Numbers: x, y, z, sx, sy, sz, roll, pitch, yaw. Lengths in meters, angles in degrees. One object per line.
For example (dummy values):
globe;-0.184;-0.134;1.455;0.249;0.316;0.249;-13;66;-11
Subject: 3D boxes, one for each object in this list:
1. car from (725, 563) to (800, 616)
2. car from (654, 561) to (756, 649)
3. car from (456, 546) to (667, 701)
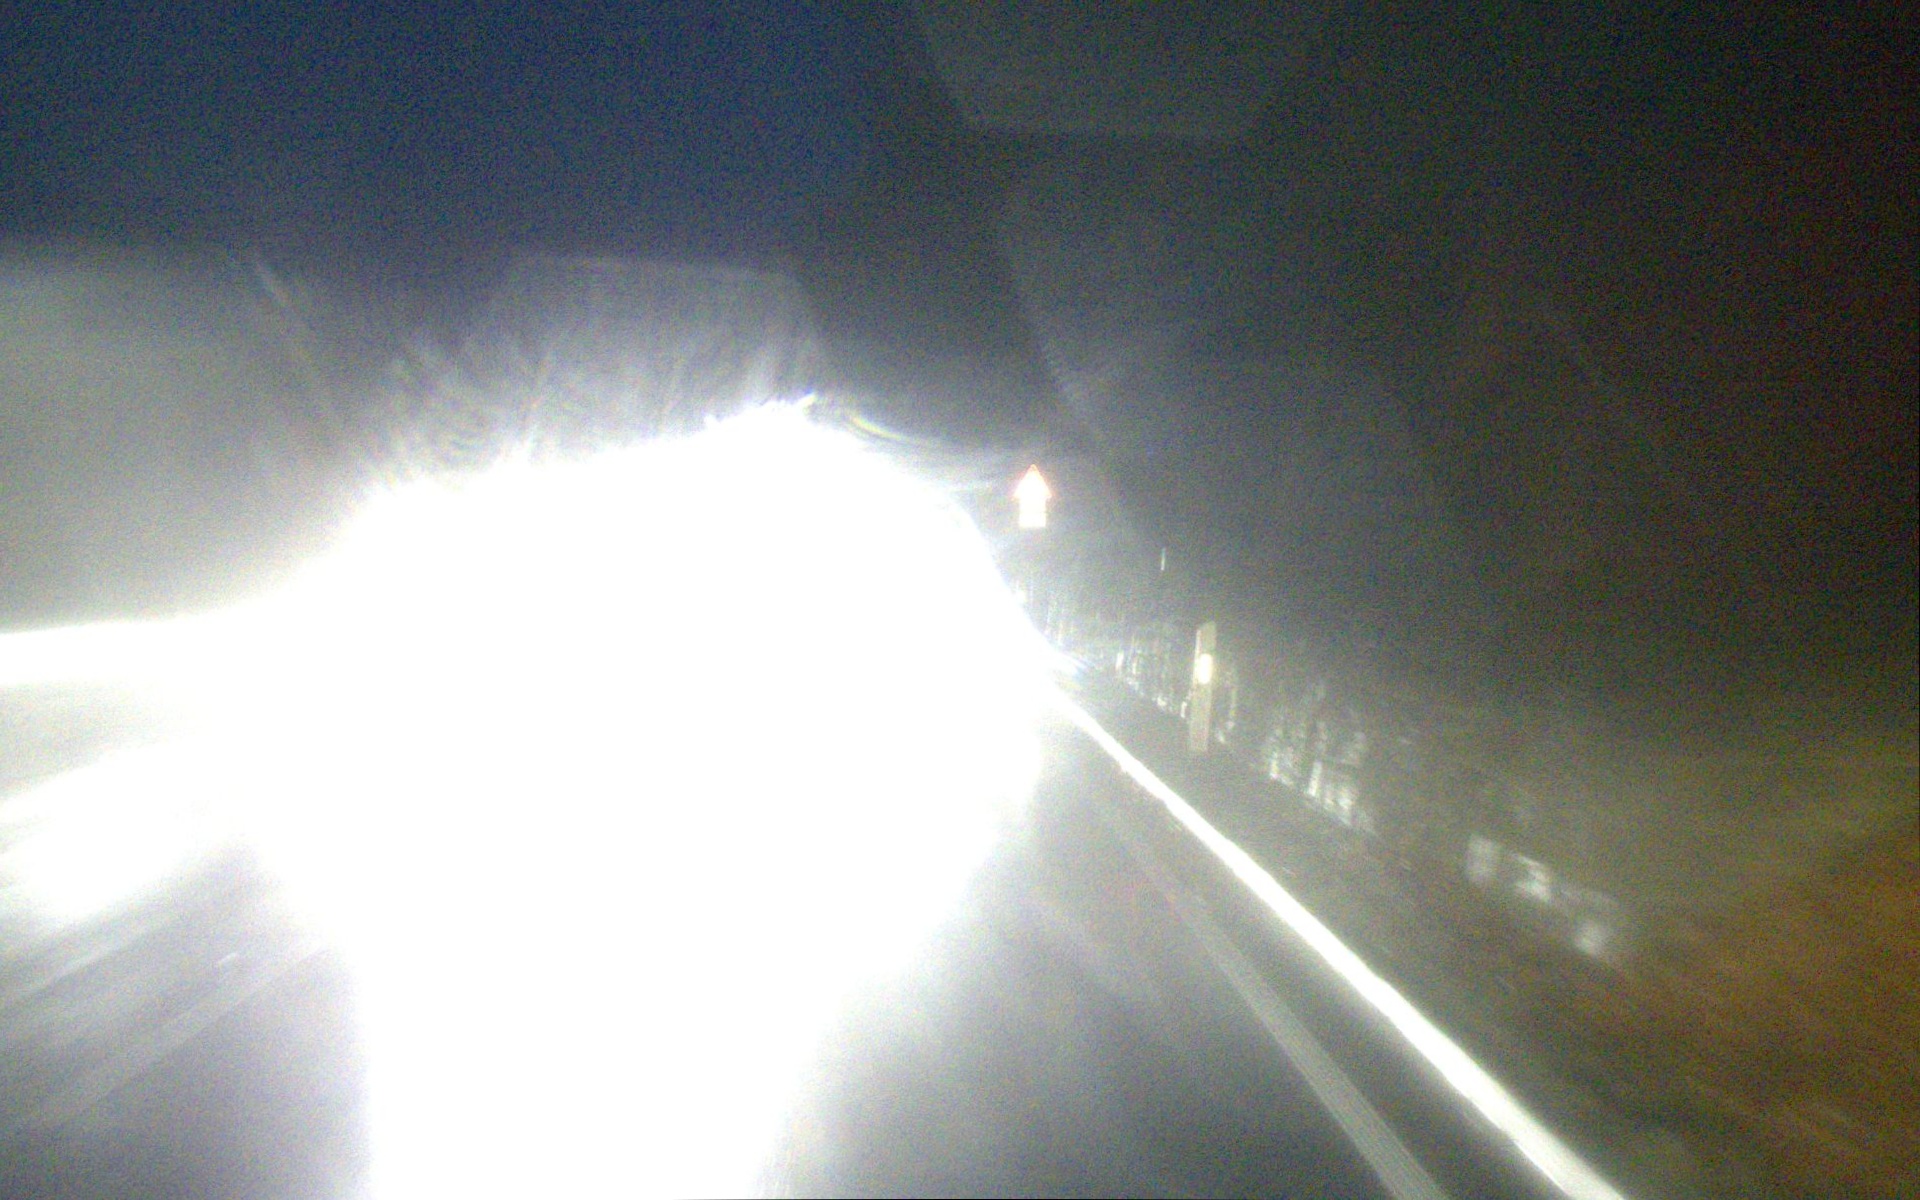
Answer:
car;-5.752;-0.328;100.550;1.993;1.492;4.357;1;1;-1
car;-4.672;0.074;63.283;1.716;1.549;4.000;1;1;-2
car;-4.240;0.211;37.183;1.830;1.549;4.442;1;1;-1
